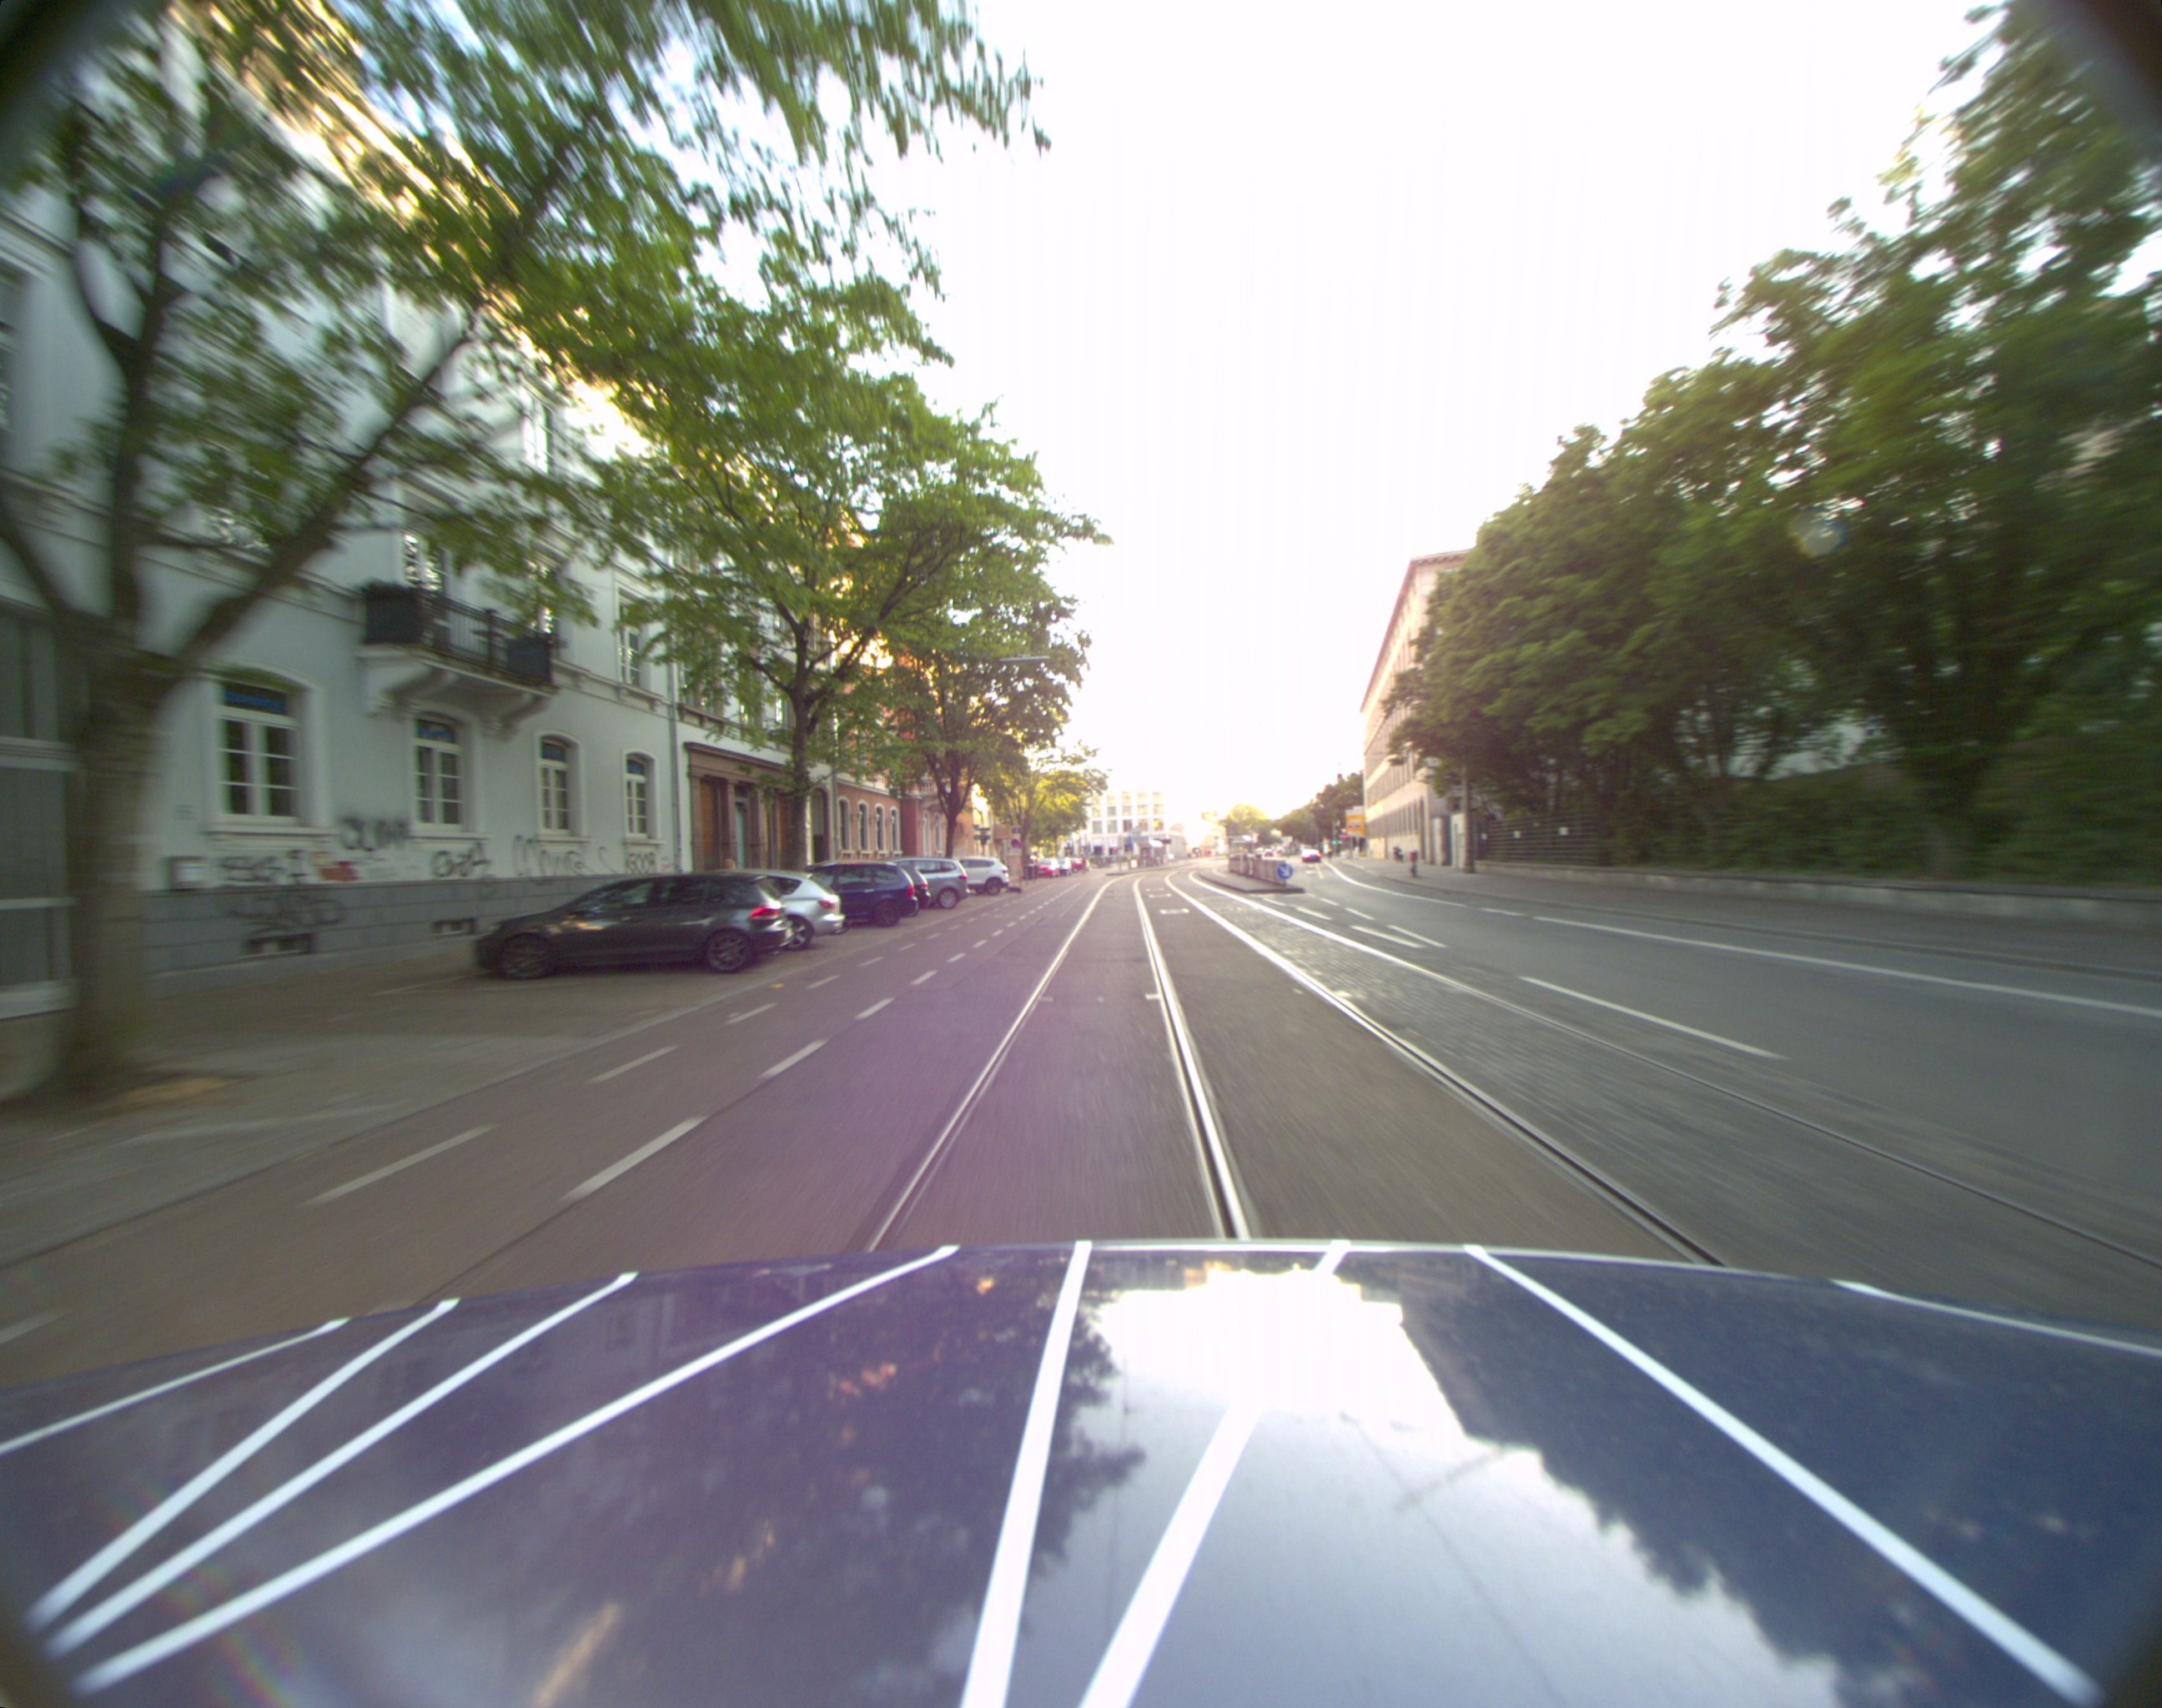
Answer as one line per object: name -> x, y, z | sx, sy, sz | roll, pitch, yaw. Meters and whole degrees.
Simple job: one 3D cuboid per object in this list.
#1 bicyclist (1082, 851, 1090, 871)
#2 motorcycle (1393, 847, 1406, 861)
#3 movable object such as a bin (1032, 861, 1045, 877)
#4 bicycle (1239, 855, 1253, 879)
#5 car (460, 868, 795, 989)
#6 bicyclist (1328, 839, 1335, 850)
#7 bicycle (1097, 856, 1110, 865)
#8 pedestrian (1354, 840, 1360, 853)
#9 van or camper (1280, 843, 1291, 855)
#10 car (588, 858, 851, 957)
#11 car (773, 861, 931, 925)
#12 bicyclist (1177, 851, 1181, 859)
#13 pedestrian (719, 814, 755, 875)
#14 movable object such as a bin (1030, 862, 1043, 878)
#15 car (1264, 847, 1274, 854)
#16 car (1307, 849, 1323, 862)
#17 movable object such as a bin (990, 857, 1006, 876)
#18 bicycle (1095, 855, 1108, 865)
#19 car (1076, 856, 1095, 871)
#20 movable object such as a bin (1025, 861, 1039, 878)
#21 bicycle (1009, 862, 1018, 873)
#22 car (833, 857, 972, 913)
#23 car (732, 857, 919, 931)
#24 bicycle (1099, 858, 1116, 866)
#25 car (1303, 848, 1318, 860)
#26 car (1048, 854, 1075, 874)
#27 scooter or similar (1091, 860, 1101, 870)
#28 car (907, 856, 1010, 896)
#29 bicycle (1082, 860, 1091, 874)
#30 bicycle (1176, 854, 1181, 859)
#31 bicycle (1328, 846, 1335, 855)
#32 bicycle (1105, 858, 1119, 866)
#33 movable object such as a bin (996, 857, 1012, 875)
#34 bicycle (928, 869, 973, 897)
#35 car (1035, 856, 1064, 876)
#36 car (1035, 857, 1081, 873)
bicyclist -> 0.429, 0.579, 62.819 | 0.610, 1.626, 0.597 | -2, 0, -1
motorcycle -> 24.945, -0.040, 59.528 | 0.699, 1.068, 2.657 | -2, 0, 17
movable object such as a bin -> -3.171, 1.130, 56.304 | 0.624, 1.147, 0.714 | -3, 0, -44
bicycle -> 7.822, 0.597, 35.980 | 0.463, 1.068, 2.023 | -2, 0, 8
car -> -6.562, 1.027, 11.474 | 3.956, 1.594, 1.838 | 0, 0, -11
bicyclist -> 31.591, -1.206, 95.946 | 0.757, 1.432, 0.598 | -2, 0, 17
bicycle -> 2.957, 0.839, 99.899 | 1.553, 1.068, 0.745 | -2, 0, 19
pedestrian -> 38.070, -1.064, 104.958 | 0.696, 1.700, 0.647 | -2, 0, 20
van or camper -> 47.315, -1.101, 175.446 | 2.107, 2.664, 4.718 | -3, -2, 19
car -> -6.368, 0.952, 13.859 | 3.956, 1.594, 1.838 | 2, 0, -12
car -> -6.323, 1.009, 21.031 | 3.960, 1.594, 1.743 | 0, 0, -26
bicyclist -> 18.989, 0.150, 147.458 | 0.540, 1.626, 0.598 | -2, 0, 17
pedestrian -> -9.269, -0.241, 20.504 | 0.588, 1.600, 0.625 | -2, 0, 4
movable object such as a bin -> -3.211, 1.159, 54.788 | 0.713, 1.147, 0.589 | -3, 0, 16
car -> 39.805, -0.747, 160.585 | 1.695, 1.412, 4.178 | -2, 0, 17
car -> 27.291, 0.178, 88.775 | 1.645, 1.419, 3.709 | -3, 0, 17
movable object such as a bin -> -6.578, 0.983, 60.290 | 1.074, 1.493, 1.319 | -3, 0, 2
bicycle -> 2.683, 0.780, 98.607 | 1.528, 1.156, 0.745 | -3, 0, 19
car -> 0.478, 0.986, 83.277 | 1.683, 1.544, 4.002 | 1, 0, 6
movable object such as a bin -> -3.473, 1.117, 54.338 | 0.794, 1.147, 0.589 | -3, 0, 16
bicycle -> -6.518, 1.300, 73.690 | 0.652, 1.068, 1.556 | -3, 0, 3
car -> -5.697, 0.931, 24.265 | 3.961, 1.659, 1.897 | 0, 1, -29
car -> -6.096, 0.937, 18.176 | 3.961, 1.594, 1.836 | 2, 0, -28
bicycle -> 3.561, 1.084, 102.110 | 2.233, 1.125, 0.745 | -1, 0, 19
car -> 28.676, -0.018, 94.909 | 1.645, 1.419, 4.237 | -2, 0, 17
car -> -1.656, 0.836, 65.092 | 1.747, 1.622, 4.090 | 0, 0, 6
scooter or similar -> 1.952, 1.382, 97.509 | 1.201, 1.218, 0.591 | -1, 1, 17
car -> -5.182, 0.913, 32.225 | 3.961, 1.617, 1.670 | 0, -1, -27
bicycle -> 0.465, 1.063, 62.869 | 0.609, 1.108, 2.086 | -2, 0, -2
bicycle -> 18.856, 0.478, 146.937 | 0.539, 1.045, 1.763 | -2, 0, 17
bicycle -> 31.613, -0.441, 95.920 | 0.742, 1.011, 1.763 | -2, 0, 17
bicycle -> 4.202, 1.093, 102.968 | 1.861, 1.068, 0.745 | -3, 0, 34
movable object such as a bin -> -6.690, 1.045, 66.407 | 1.116, 1.493, 1.482 | -3, 0, 3
bicycle -> -5.153, 1.139, 30.040 | 1.671, 1.068, 0.463 | 1, -1, -20
car -> -2.427, 0.924, 59.222 | 1.567, 1.527, 3.695 | 0, 0, 8
car -> -2.250, 1.074, 74.734 | 4.215, 1.445, 1.642 | -3, 0, -27
